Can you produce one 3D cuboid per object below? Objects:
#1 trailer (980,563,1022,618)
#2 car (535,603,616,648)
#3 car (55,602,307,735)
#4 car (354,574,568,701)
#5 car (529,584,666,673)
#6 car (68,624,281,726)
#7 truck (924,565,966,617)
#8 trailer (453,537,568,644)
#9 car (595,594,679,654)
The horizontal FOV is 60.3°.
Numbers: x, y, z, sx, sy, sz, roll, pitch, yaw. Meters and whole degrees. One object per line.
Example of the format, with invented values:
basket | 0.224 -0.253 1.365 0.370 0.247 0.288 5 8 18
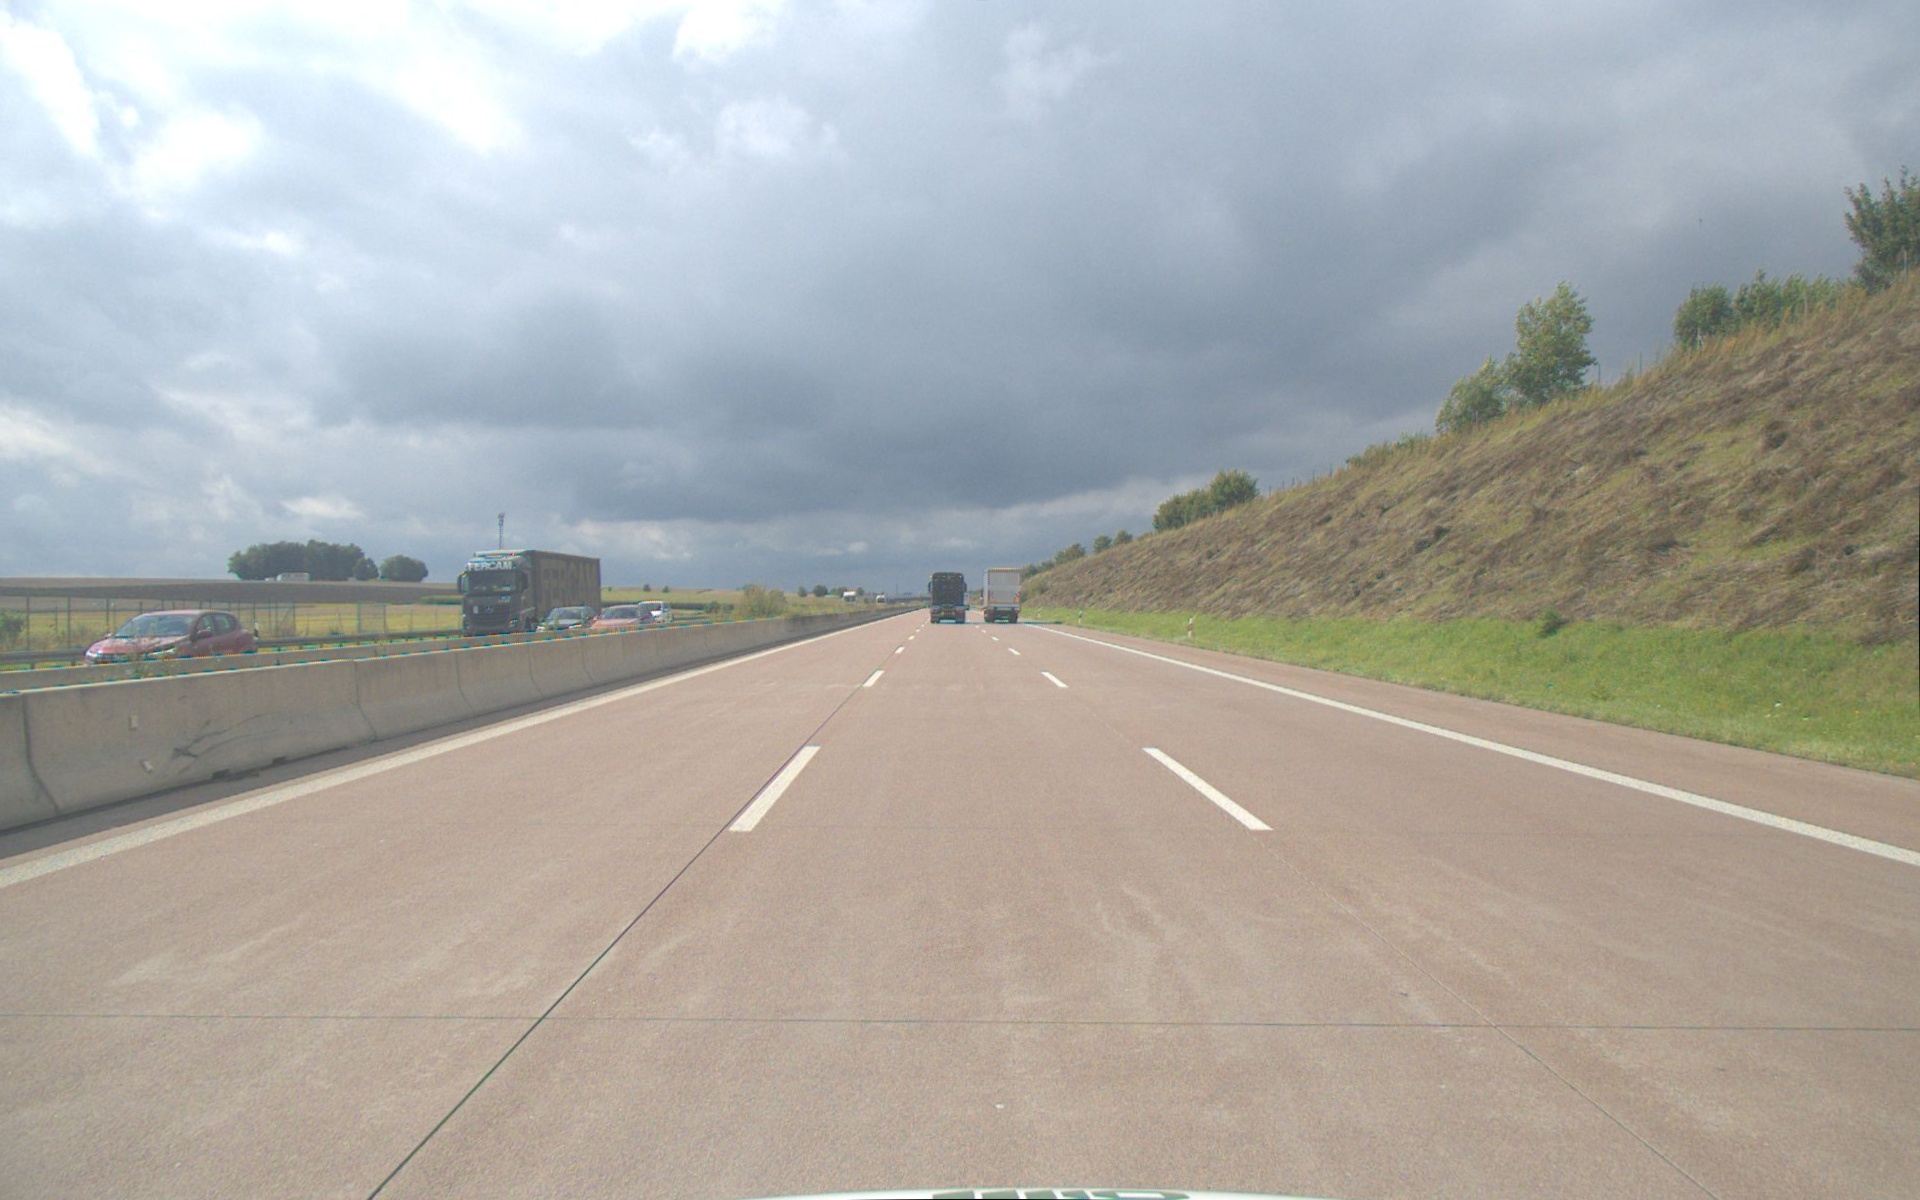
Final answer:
trailer | 3.092 -0.662 127.060 2.692 4.082 8.666 1 0 -2
car | -14.921 0.977 64.490 1.953 1.602 5.217 1 0 -1
car | -7.620 0.623 16.397 1.198 1.172 2.757 1 0 -1
car | -7.276 0.497 24.599 1.846 1.691 4.433 1 0 -1
car | -7.362 0.539 33.969 1.932 1.691 4.081 1 0 -1
car | -14.712 1.348 31.298 1.933 1.691 4.489 1 0 -1
truck | -1.121 -0.587 120.695 2.790 3.612 8.315 1 0 -2
trailer | -19.231 -0.386 71.207 2.946 4.322 7.008 1 0 0
car | -11.383 0.813 58.633 1.953 2.017 5.217 1 0 -1
